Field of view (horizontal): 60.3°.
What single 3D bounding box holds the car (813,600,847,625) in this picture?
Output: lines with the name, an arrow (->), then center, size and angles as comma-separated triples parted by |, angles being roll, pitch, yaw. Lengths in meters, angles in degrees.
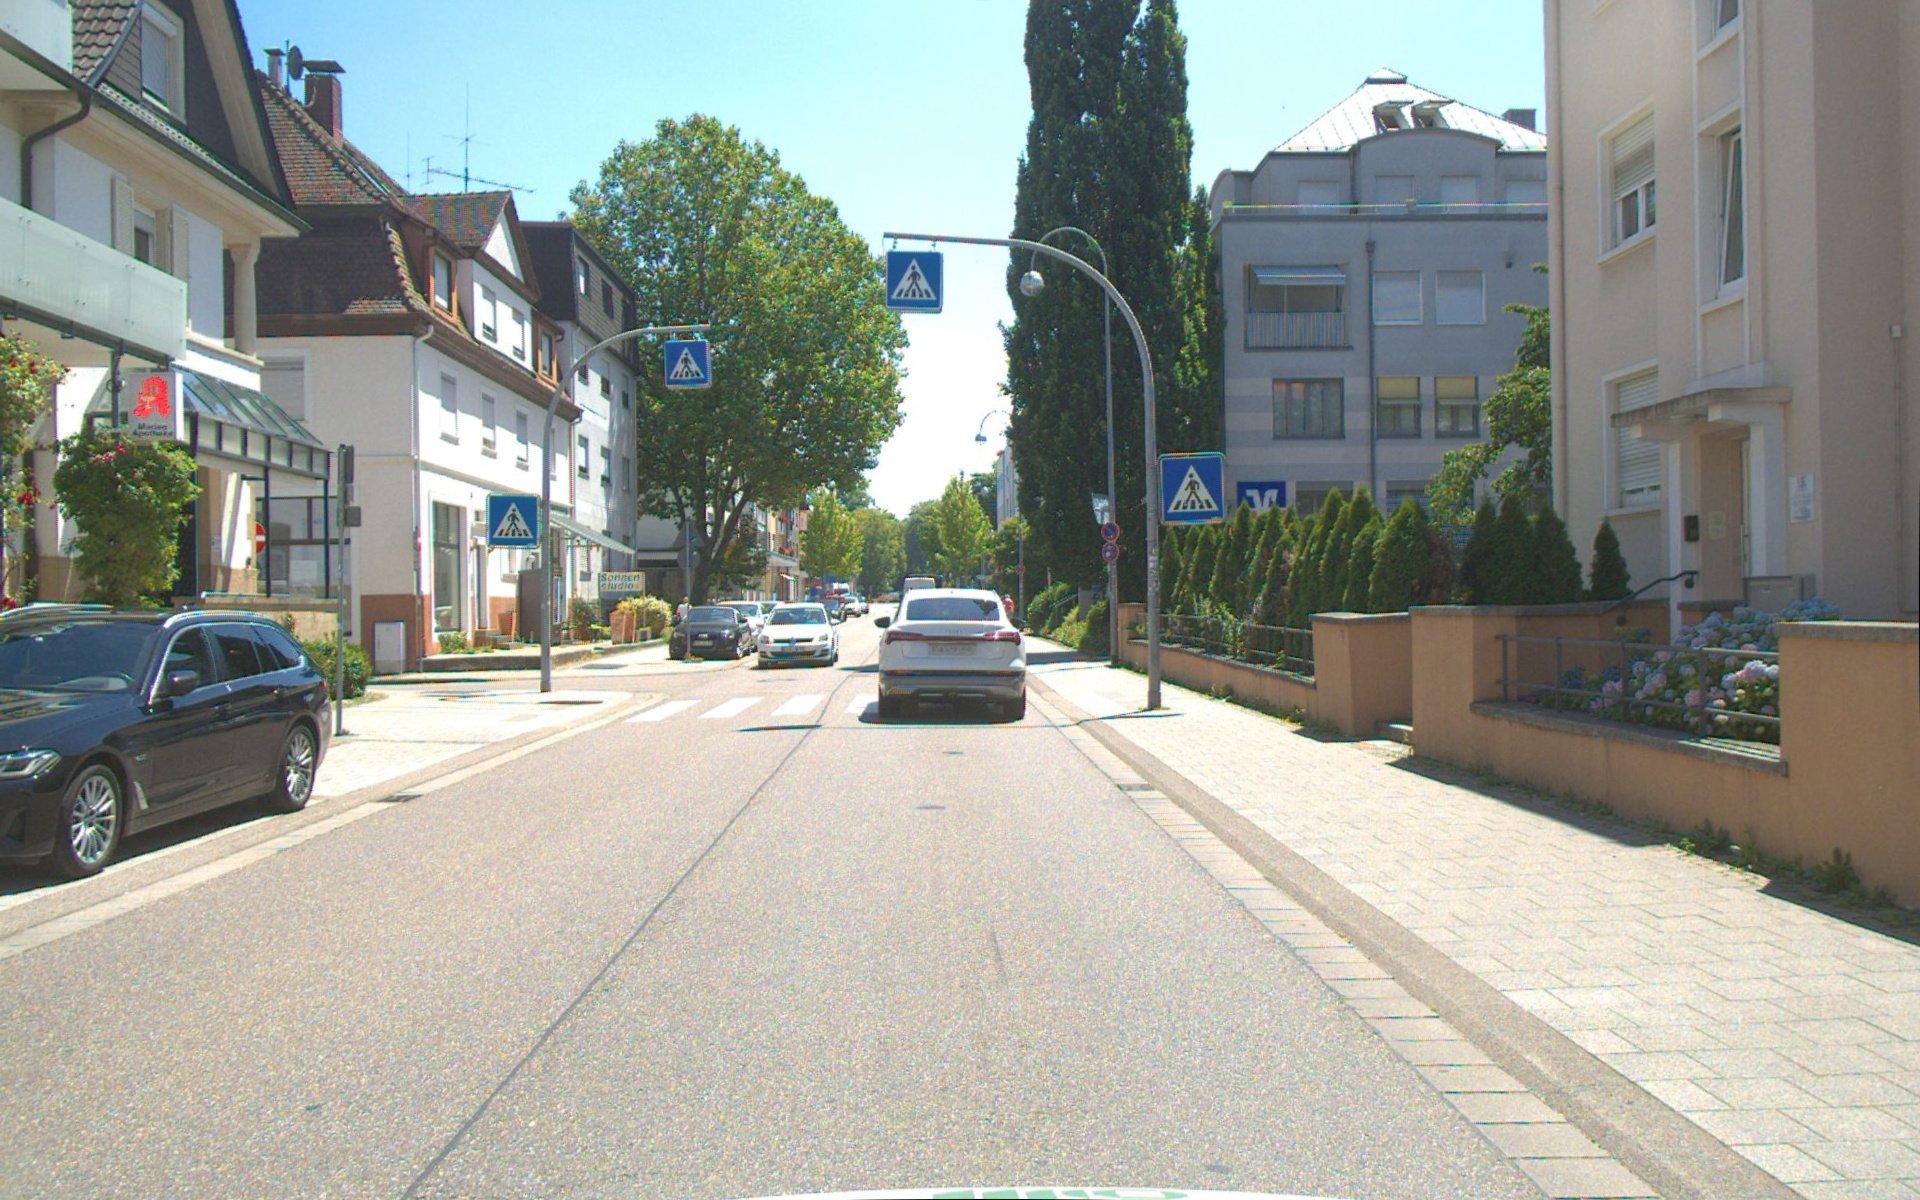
car -> -8.141, 0.761, 103.605 | 1.858, 1.442, 5.046 | 1, 0, -2

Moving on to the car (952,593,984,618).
car -> 0.567, 0.376, 117.179 | 1.859, 1.703, 4.687 | -3, 0, -4

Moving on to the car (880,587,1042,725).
car -> -0.070, 0.680, 22.022 | 1.954, 1.661, 3.998 | 0, 0, -3

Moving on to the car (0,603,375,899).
car -> -5.788, 0.790, 11.160 | 1.877, 1.477, 5.148 | 2, 0, -1

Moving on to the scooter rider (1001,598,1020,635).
scooter rider -> 2.187, 0.715, 72.128 | 0.702, 1.575, 0.770 | -2, 0, -3

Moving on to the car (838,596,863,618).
car -> -8.812, 0.550, 133.377 | 1.717, 1.646, 4.400 | 1, 0, 0

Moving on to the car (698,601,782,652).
car -> -6.698, 0.764, 50.945 | 1.941, 1.477, 5.356 | 0, 0, -1

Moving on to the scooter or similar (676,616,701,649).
scooter or similar -> -9.331, 1.108, 56.847 | 0.649, 1.117, 1.028 | 1, 0, 0

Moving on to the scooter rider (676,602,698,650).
scooter rider -> -9.324, 0.881, 56.552 | 0.576, 1.603, 0.877 | 1, 0, 0

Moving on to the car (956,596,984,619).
car -> 0.670, 0.478, 111.039 | 1.857, 1.463, 4.544 | -1, 0, 0

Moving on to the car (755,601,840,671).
car -> -3.815, 0.817, 39.241 | 1.772, 1.508, 3.867 | -3, 0, -3

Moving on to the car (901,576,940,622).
car -> -2.201, -0.038, 93.238 | 2.112, 2.484, 5.282 | 1, 0, -1

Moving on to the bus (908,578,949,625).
bus -> -2.238, 0.097, 119.830 | 2.606, 3.278, 7.302 | 1, 0, 1

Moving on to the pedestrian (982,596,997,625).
pedestrian -> 1.698, 0.596, 94.850 | 0.686, 1.655, 0.783 | -4, 0, -3

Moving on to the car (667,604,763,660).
car -> -6.586, 0.830, 44.878 | 1.903, 1.397, 5.097 | 0, 0, -1
